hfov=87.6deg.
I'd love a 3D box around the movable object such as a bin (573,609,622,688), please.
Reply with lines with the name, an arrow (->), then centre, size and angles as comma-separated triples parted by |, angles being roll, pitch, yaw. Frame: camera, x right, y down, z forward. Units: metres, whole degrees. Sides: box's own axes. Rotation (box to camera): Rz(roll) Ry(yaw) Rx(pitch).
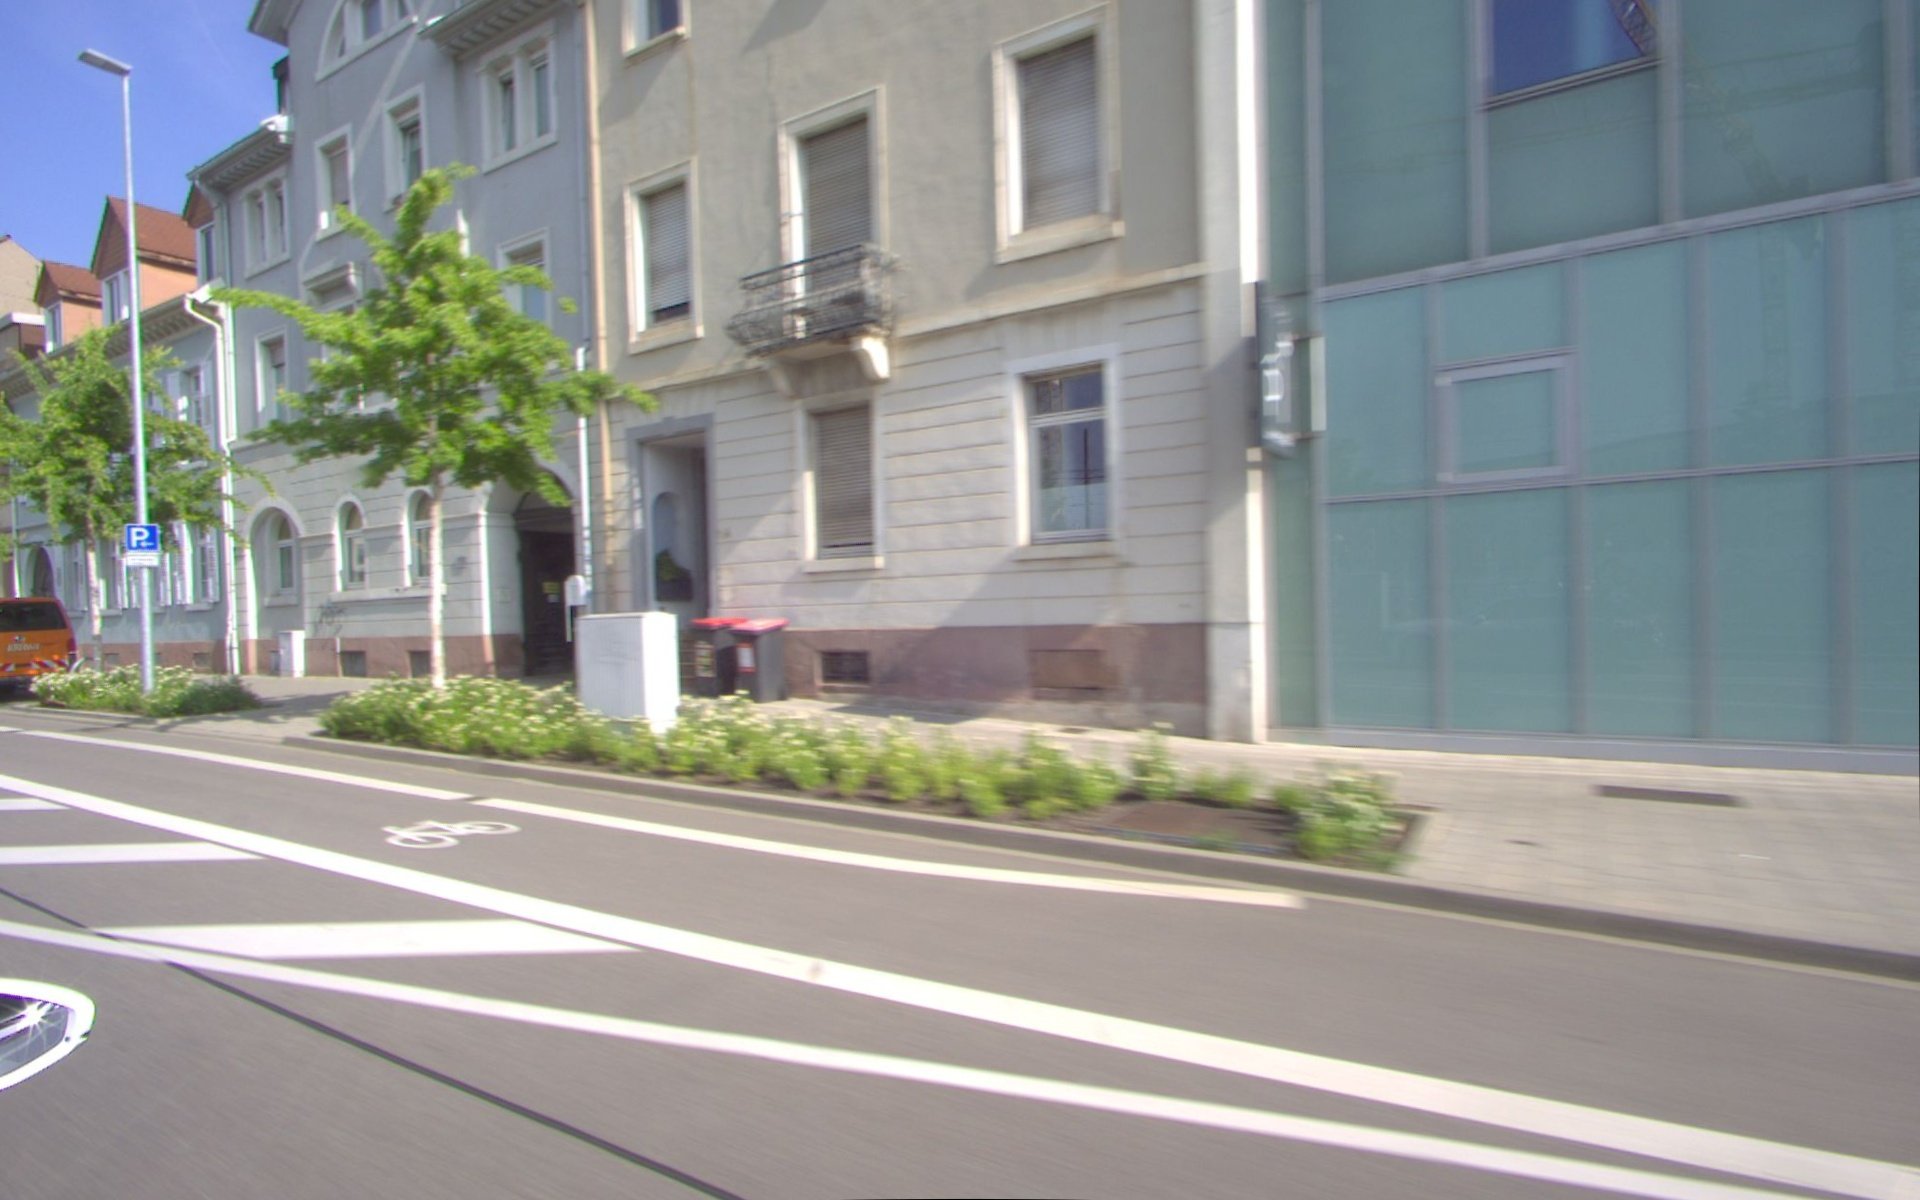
movable object such as a bin -> -5.538, 0.730, 15.342 | 0.606, 1.168, 0.670 | 1, 1, -11

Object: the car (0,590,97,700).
car -> -19.575, 0.849, 20.172 | 4.522, 2.040, 2.058 | 0, 1, 32

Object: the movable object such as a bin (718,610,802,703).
movable object such as a bin -> -2.696, 0.736, 13.524 | 0.796, 1.188, 0.780 | 1, 1, 32

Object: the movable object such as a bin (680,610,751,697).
movable object such as a bin -> -3.448, 0.730, 14.127 | 0.661, 1.168, 0.703 | 2, 1, 32
